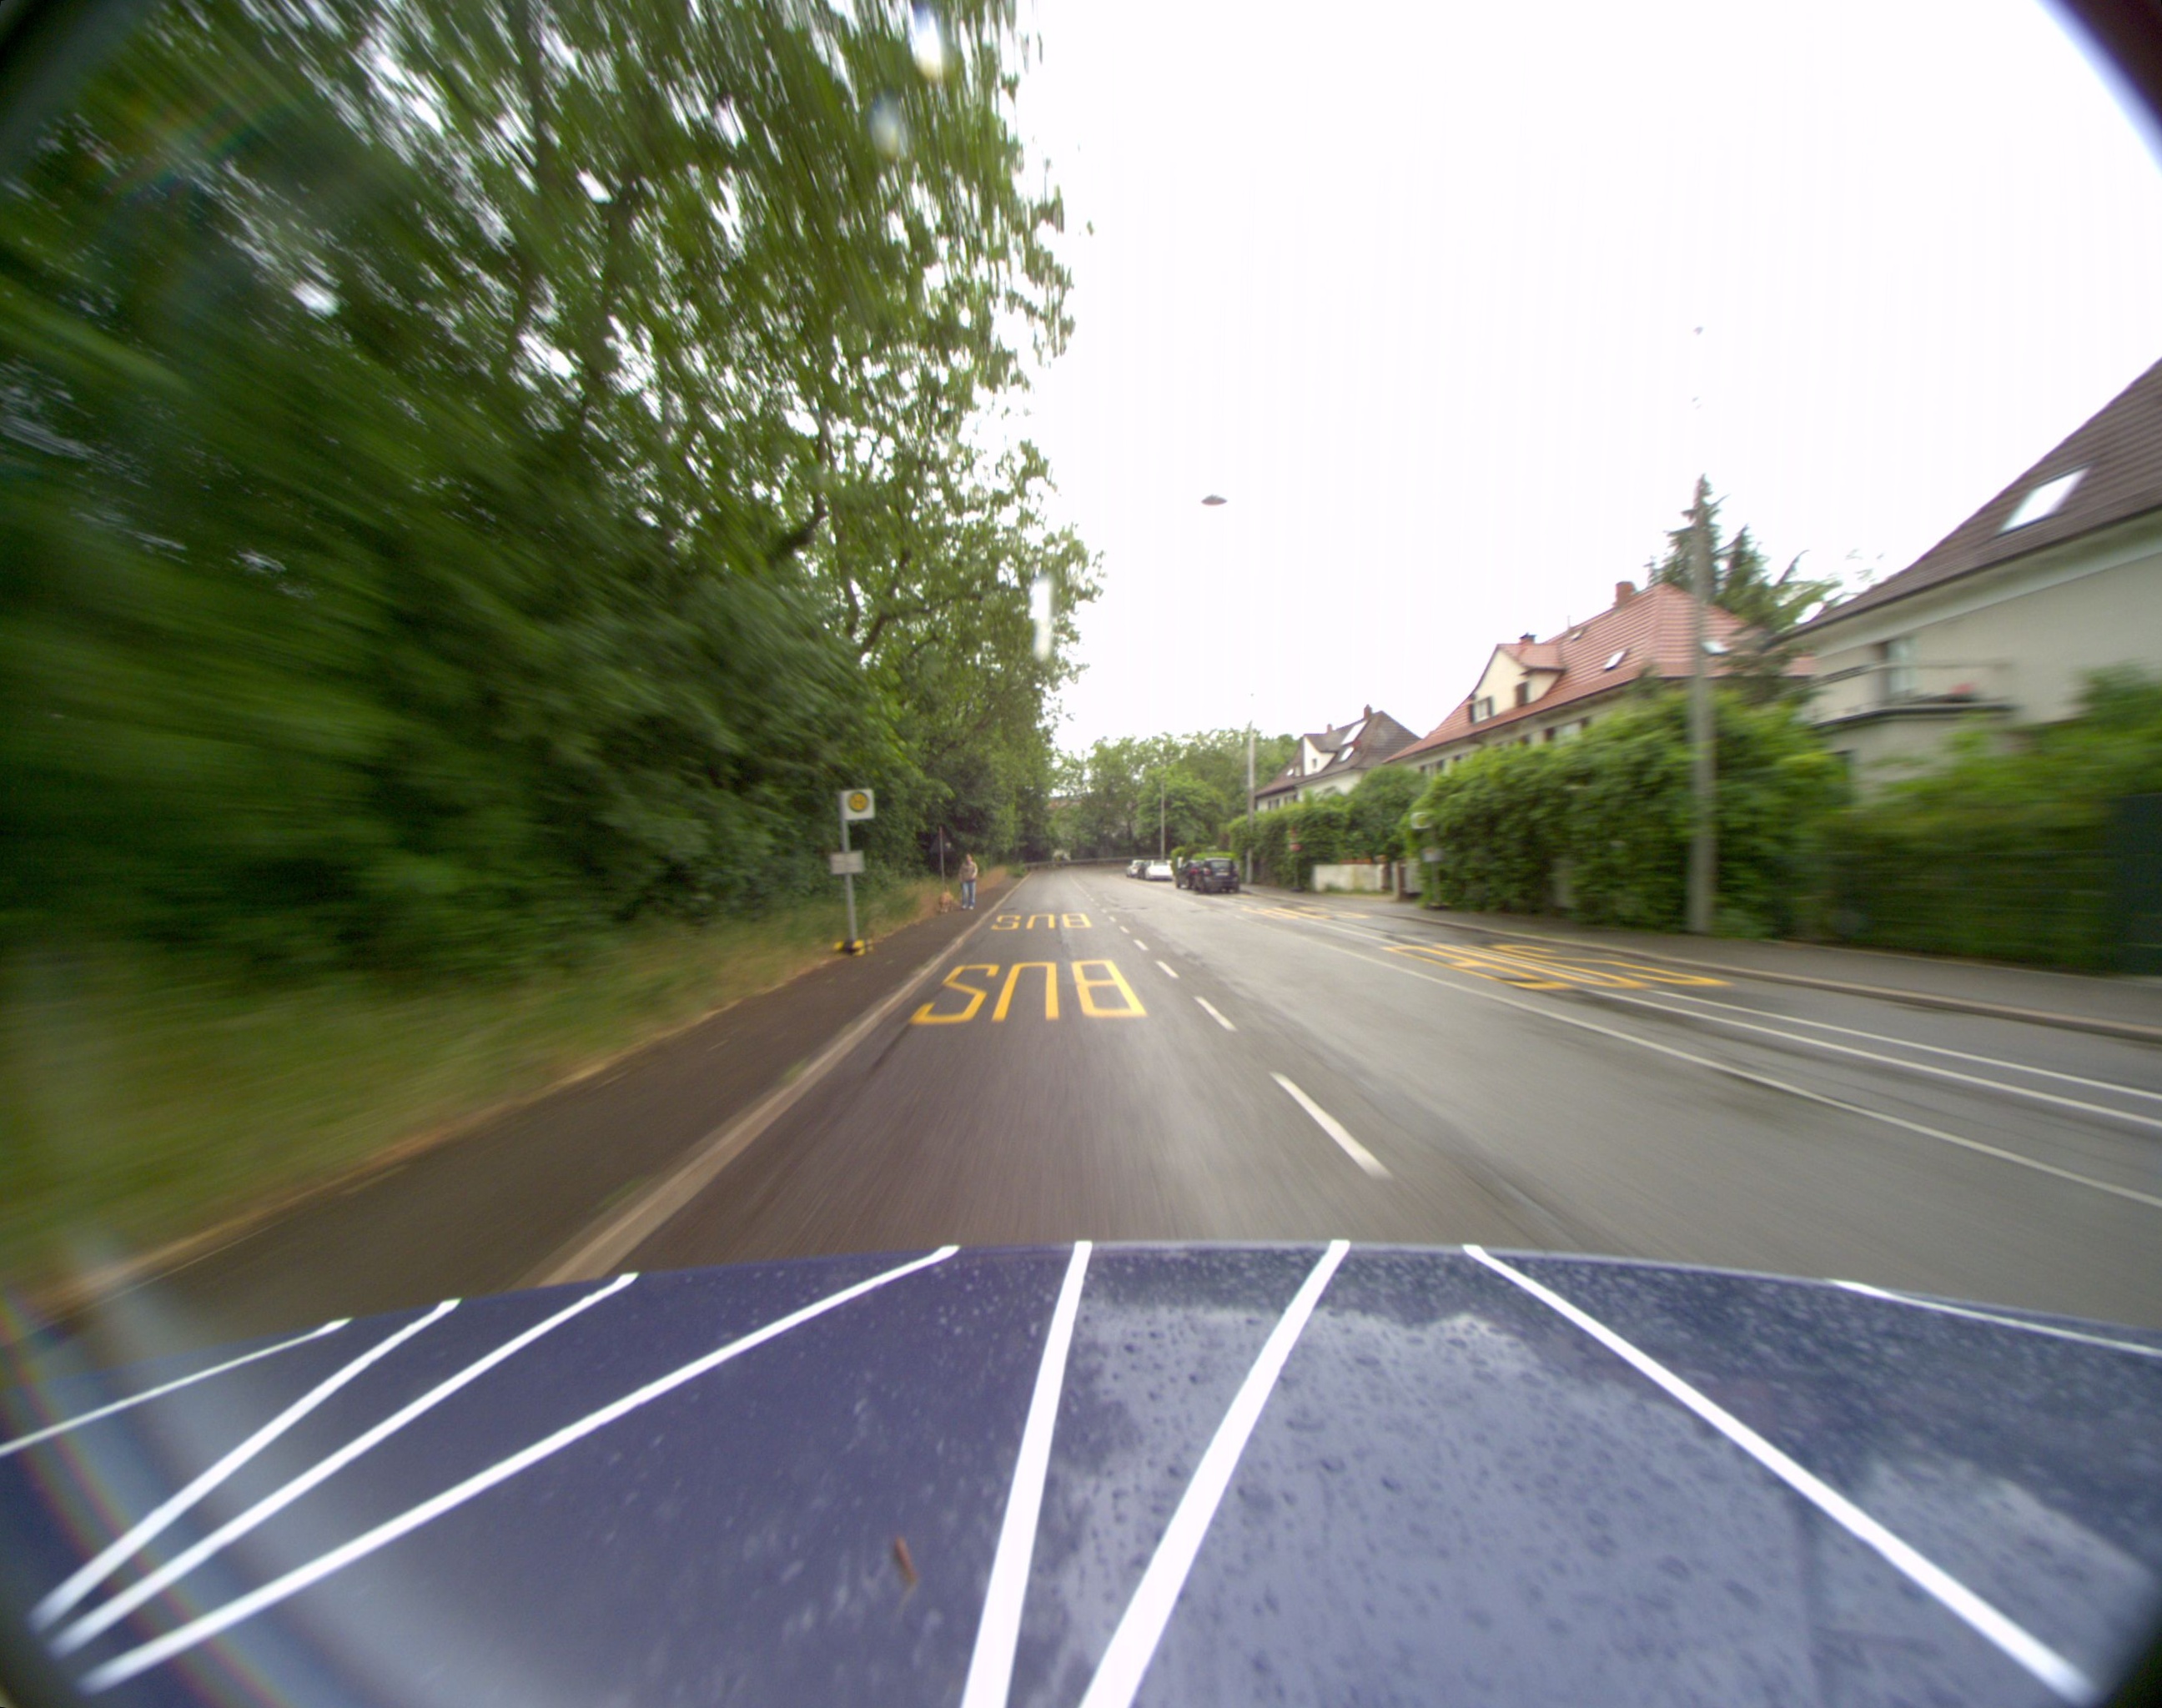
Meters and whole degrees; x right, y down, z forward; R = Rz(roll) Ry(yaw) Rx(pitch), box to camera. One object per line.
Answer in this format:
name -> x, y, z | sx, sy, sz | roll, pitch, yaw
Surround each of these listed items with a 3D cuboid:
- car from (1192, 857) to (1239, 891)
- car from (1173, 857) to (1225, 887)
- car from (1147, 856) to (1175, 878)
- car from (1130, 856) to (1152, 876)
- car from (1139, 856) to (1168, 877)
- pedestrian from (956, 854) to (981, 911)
car -> 6.074, 0.874, 34.503 | 1.523, 1.445, 3.029 | 1, 0, -1
car -> 5.925, 0.874, 38.683 | 1.692, 1.410, 4.214 | 1, 0, -4
car -> 5.635, 0.898, 53.623 | 1.702, 1.459, 3.711 | -1, 0, 2
car -> 4.996, 1.025, 63.814 | 1.736, 1.413, 4.287 | -2, -3, 4
car -> 5.483, 0.917, 58.071 | 1.702, 1.516, 4.422 | -1, 0, -1
pedestrian -> -3.241, 0.801, 21.921 | 0.643, 1.602, 0.669 | -1, 2, -3
